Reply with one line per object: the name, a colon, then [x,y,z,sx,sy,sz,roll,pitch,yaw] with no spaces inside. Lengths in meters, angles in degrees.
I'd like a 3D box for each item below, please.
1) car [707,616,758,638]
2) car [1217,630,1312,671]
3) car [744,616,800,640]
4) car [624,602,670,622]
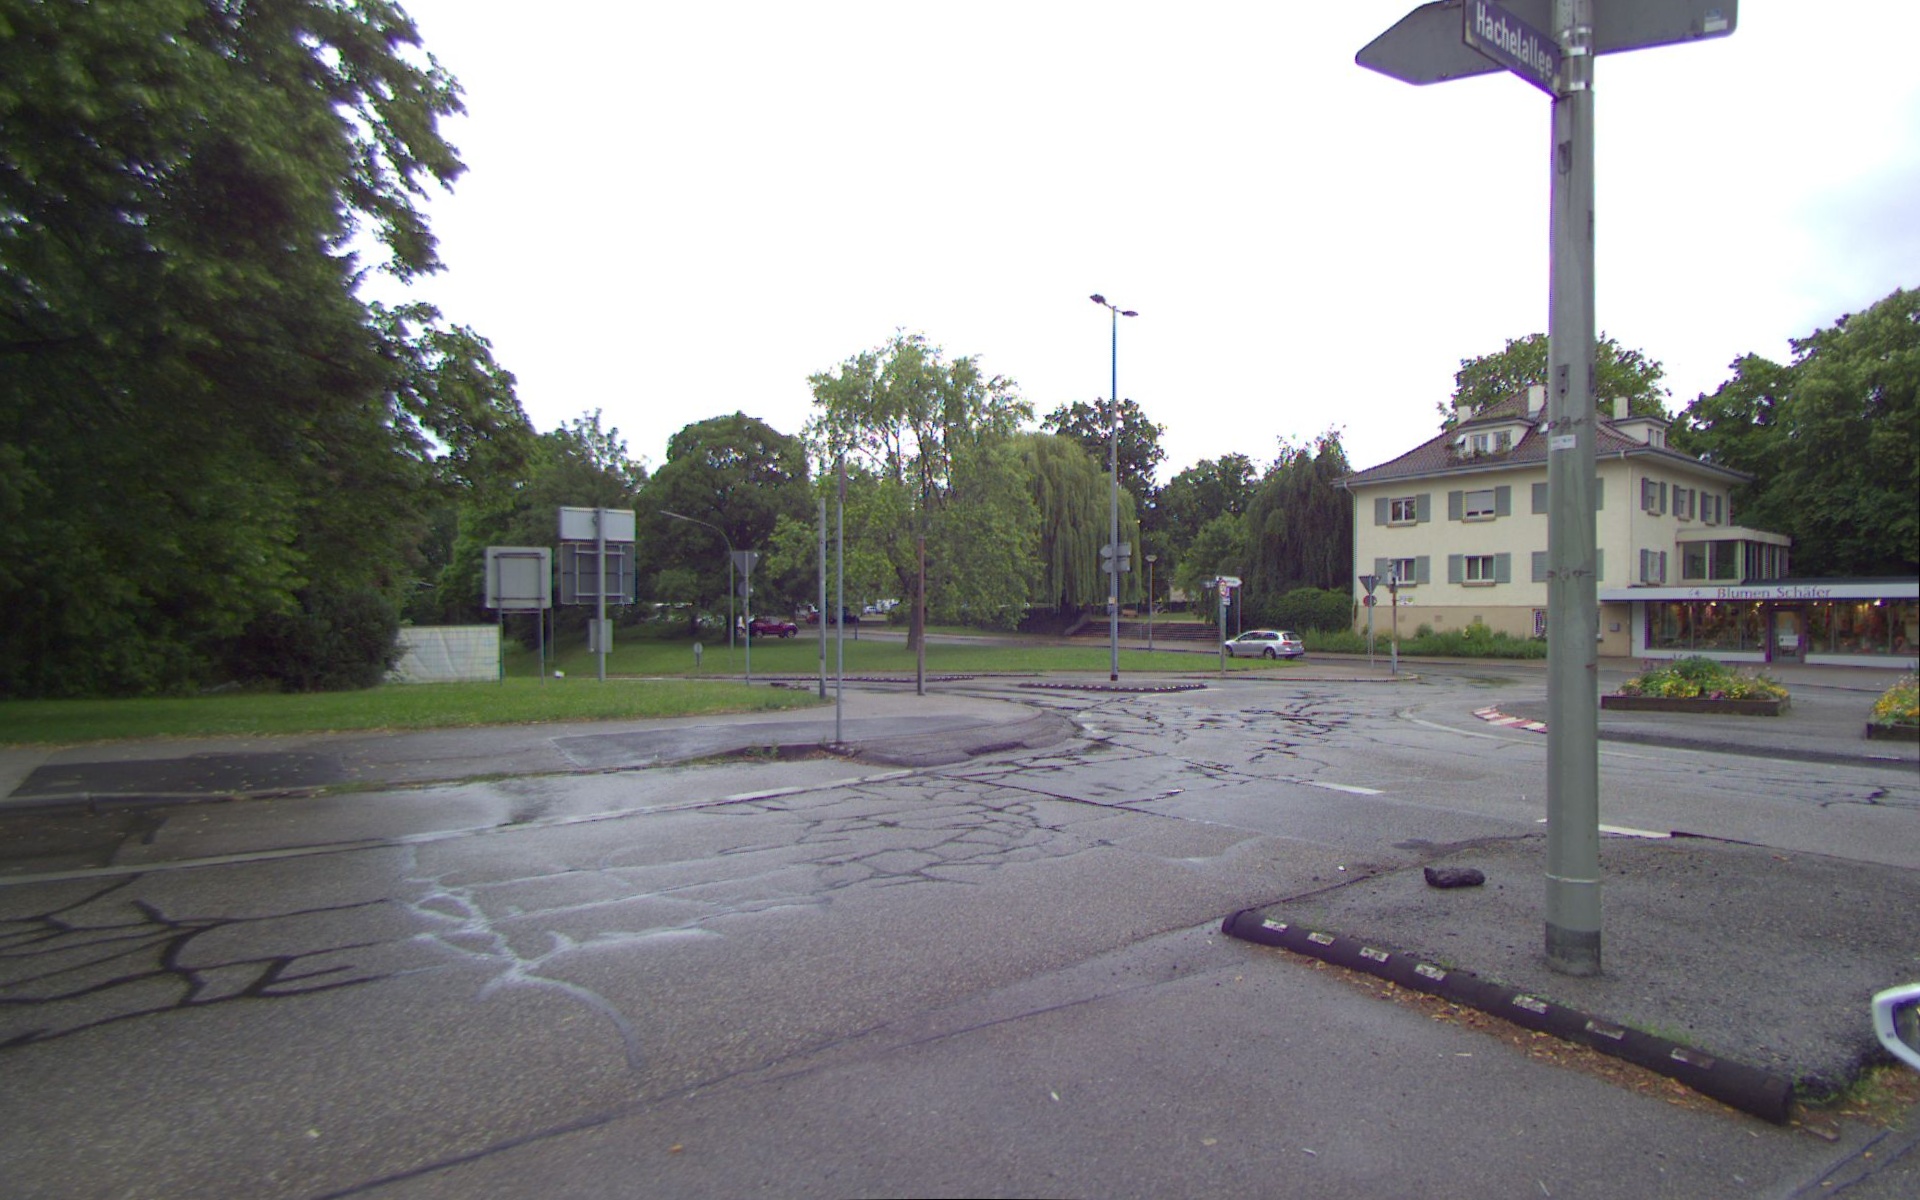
car: [-18.099,2.180,79.953,3.598,1.615,1.789,2,0,-34]
car: [15.217,2.512,50.335,1.984,1.764,4.095,2,0,-40]
car: [-13.808,2.052,73.827,3.598,1.615,1.789,2,0,-34]
car: [-27.922,1.074,89.624,3.598,1.615,1.789,2,0,-34]
